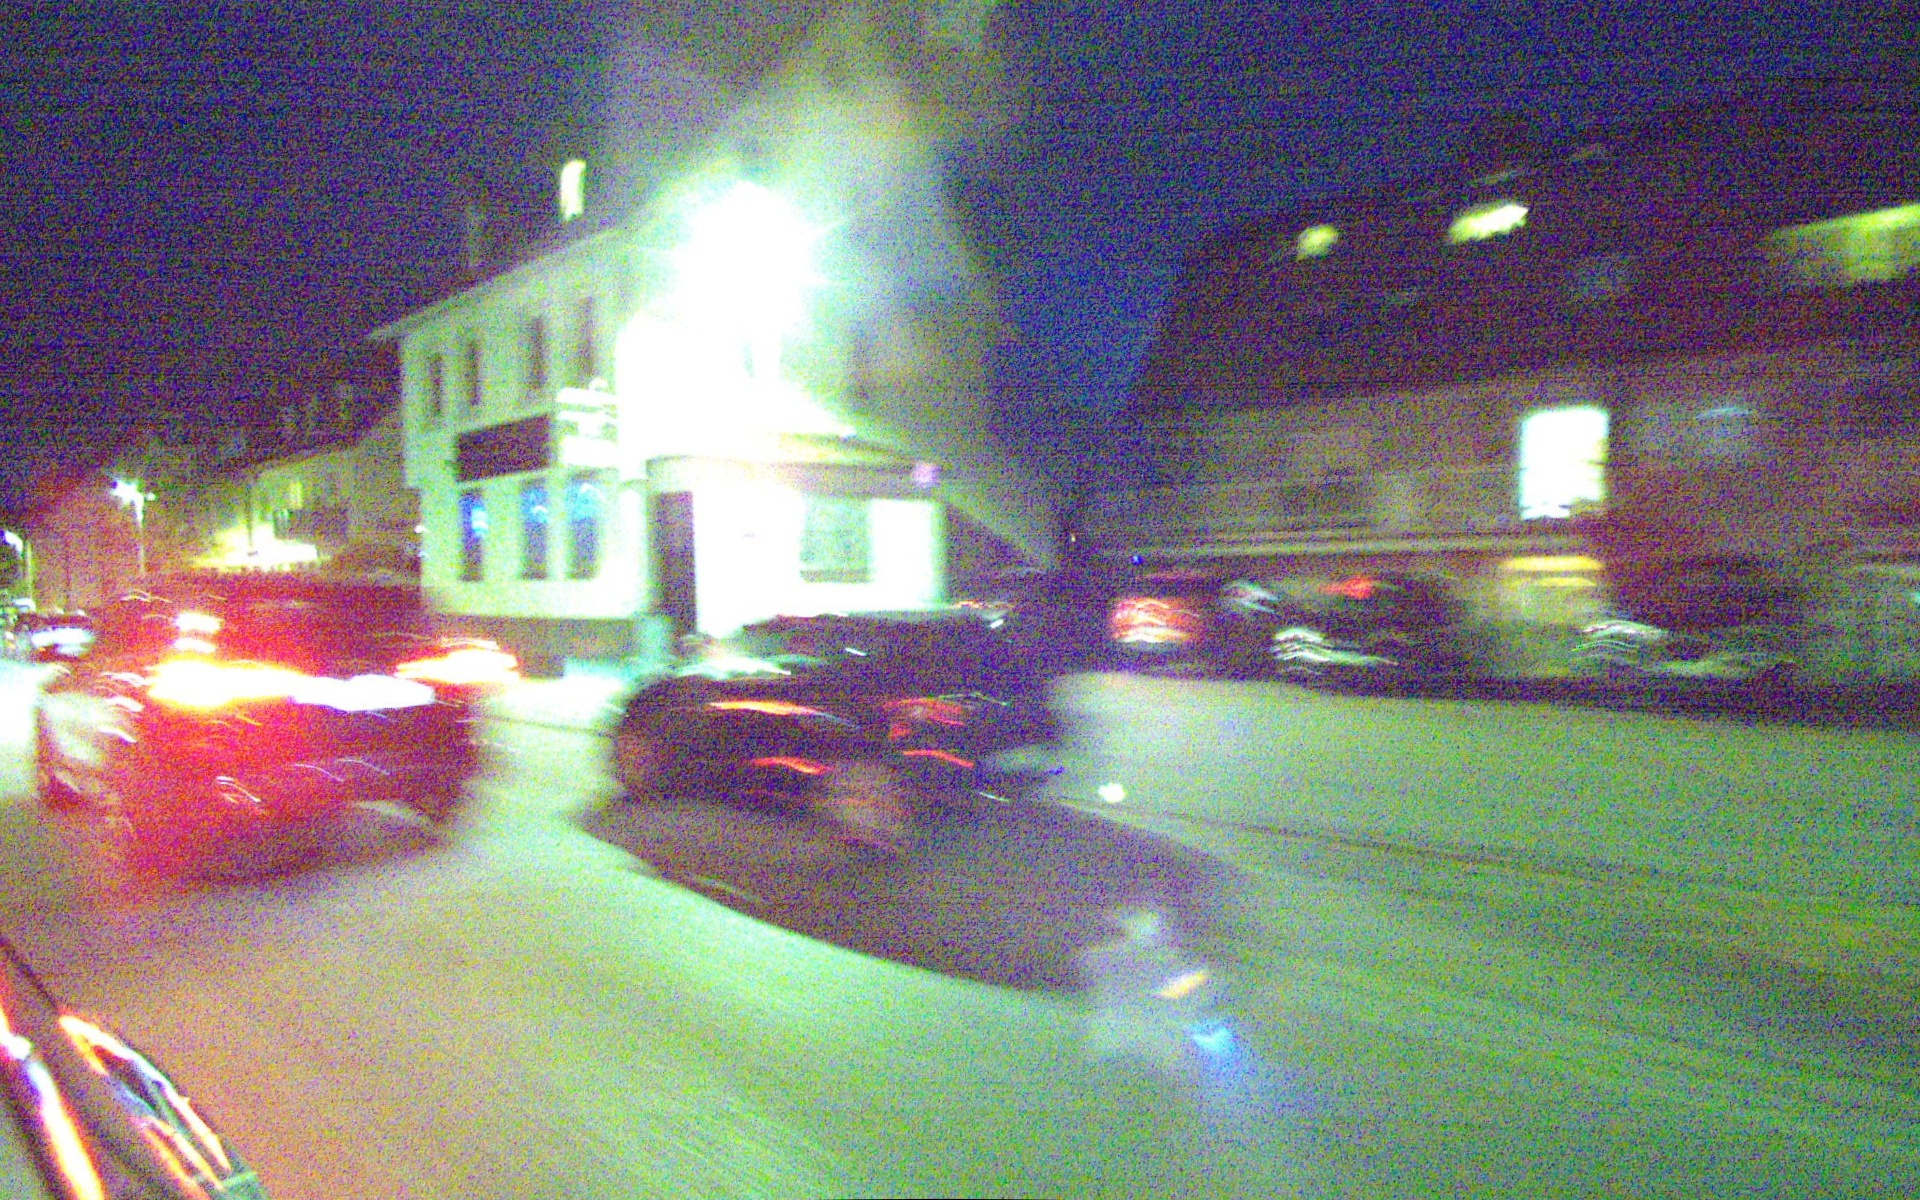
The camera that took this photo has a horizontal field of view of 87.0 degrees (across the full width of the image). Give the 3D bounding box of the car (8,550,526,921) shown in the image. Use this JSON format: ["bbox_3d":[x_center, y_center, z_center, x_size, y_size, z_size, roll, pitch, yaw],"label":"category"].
[{"bbox_3d":[-5.053,0.656,7.081,4.557,1.761,1.982,-1,0,42],"label":"car"}]

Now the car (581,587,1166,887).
[{"bbox_3d":[-0.786,0.719,7.074,4.006,1.480,1.732,-1,1,40],"label":"car"}]

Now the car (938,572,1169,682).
[{"bbox_3d":[1.693,0.368,16.788,2.024,1.573,4.276,-1,0,34],"label":"car"}]

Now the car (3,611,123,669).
[{"bbox_3d":[-28.281,1.182,31.857,4.472,1.559,2.095,0,3,39],"label":"car"}]

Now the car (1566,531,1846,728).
[{"bbox_3d":[8.087,0.293,10.820,2.000,1.674,4.071,-1,-2,42],"label":"car"}]

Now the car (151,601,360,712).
[{"bbox_3d":[-12.527,0.918,17.892,4.467,1.649,1.909,-1,1,40],"label":"car"}]

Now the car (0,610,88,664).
[{"bbox_3d":[-32.140,1.265,35.152,4.165,1.683,2.095,-1,1,40],"label":"car"}]

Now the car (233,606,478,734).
[{"bbox_3d":[-8.600,0.887,14.276,3.963,1.479,1.753,-1,1,40],"label":"car"}]

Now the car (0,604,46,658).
[{"bbox_3d":[-37.479,1.229,39.375,4.883,1.961,2.095,-1,1,40],"label":"car"}]

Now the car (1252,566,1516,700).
[{"bbox_3d":[5.658,0.396,13.256,2.000,1.475,3.944,-1,-1,42],"label":"car"}]

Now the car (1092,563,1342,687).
[{"bbox_3d":[4.012,0.306,15.451,2.001,1.630,3.942,-1,0,44],"label":"car"}]
